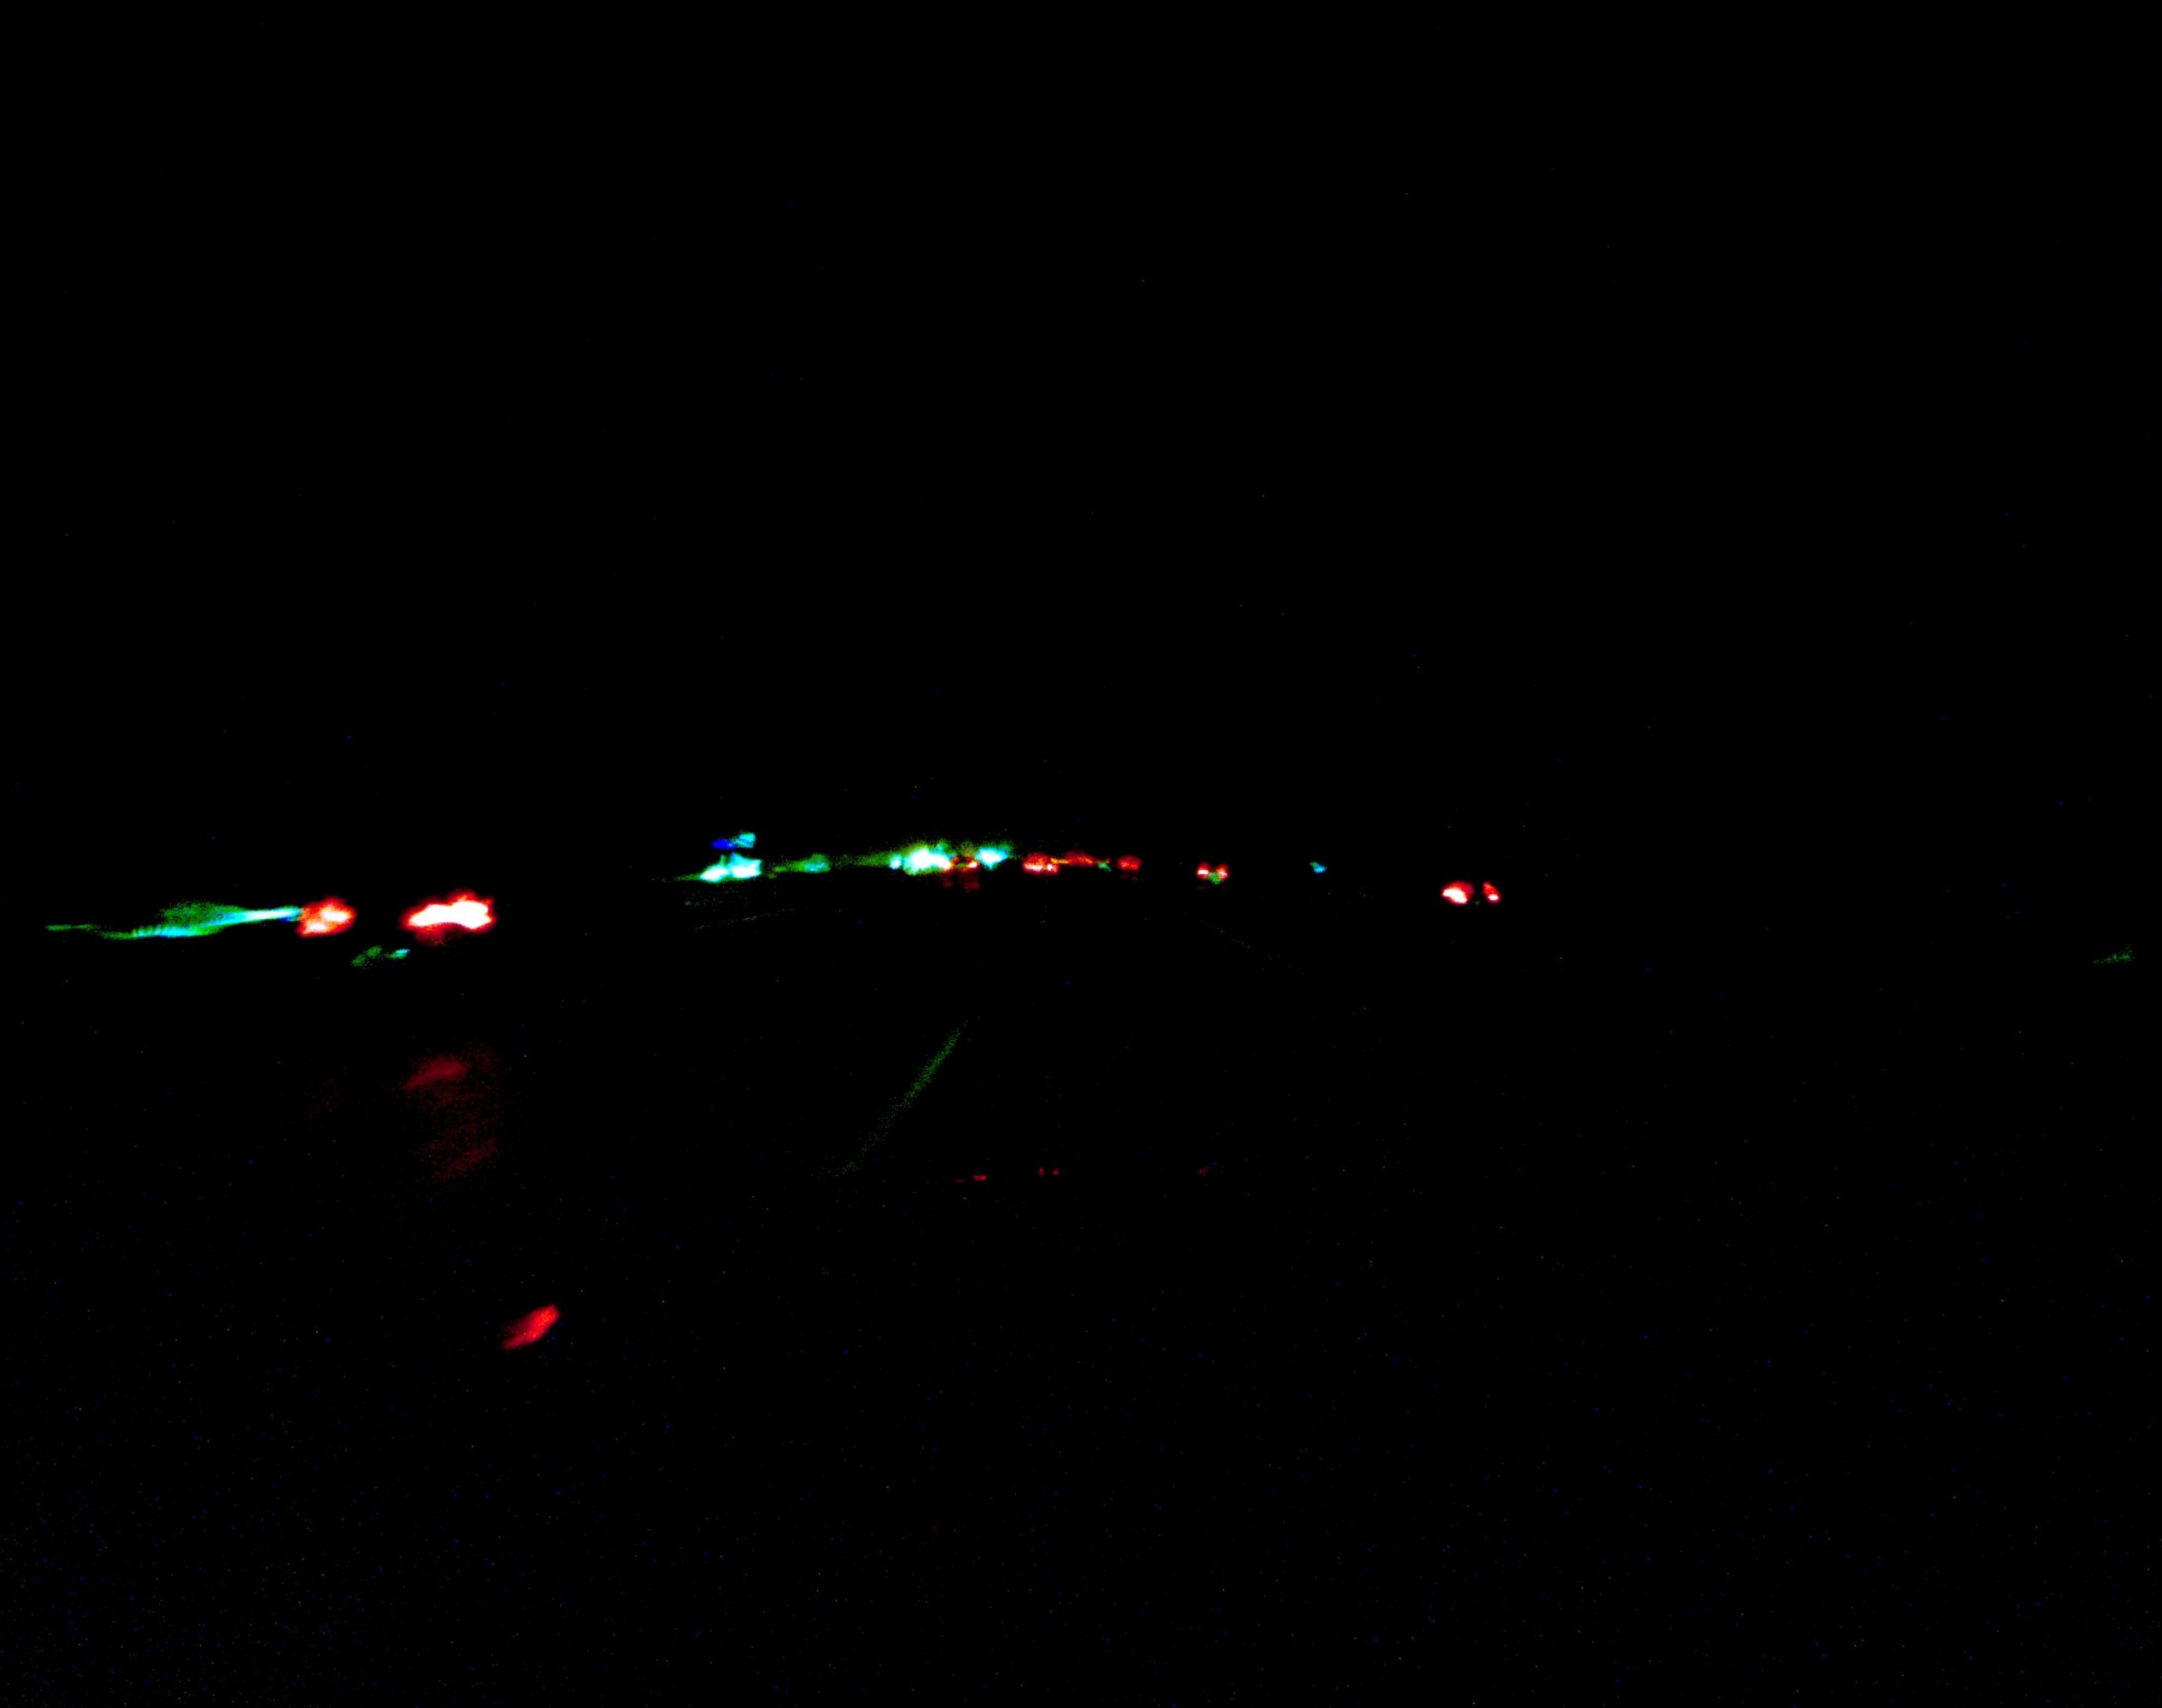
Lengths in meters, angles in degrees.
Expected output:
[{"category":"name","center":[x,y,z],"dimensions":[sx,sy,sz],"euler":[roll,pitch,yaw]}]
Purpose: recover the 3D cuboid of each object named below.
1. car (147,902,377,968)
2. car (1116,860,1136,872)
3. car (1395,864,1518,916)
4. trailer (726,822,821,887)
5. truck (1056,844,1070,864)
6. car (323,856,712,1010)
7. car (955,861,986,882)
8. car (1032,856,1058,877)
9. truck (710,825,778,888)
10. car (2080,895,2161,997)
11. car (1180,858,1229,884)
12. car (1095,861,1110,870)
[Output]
[{"category":"car","center":[-19.282,1.851,19.438],"dimensions":[1.657,1.236,3.760],"euler":[-2,-2,0]},{"category":"car","center":[4.817,1.246,87.292],"dimensions":[1.579,1.246,3.062],"euler":[1,0,-6]},{"category":"car","center":[11.973,1.087,26.317],"dimensions":[1.987,1.449,4.335],"euler":[1,0,0]},{"category":"trailer","center":[-24.093,0.248,64.815],"dimensions":[2.542,4.544,13.904],"euler":[-2,-2,-2]},{"category":"truck","center":[-2.912,0.052,131.448],"dimensions":[1.988,3.043,6.461],"euler":[-2,-2,-1]},{"category":"car","center":[-6.769,0.814,10.616],"dimensions":[1.853,1.541,4.746],"euler":[1,0,-2]},{"category":"car","center":[-7.143,1.136,52.885],"dimensions":[1.659,1.236,3.755],"euler":[-2,-2,-4]},{"category":"car","center":[-2.666,0.886,60.581],"dimensions":[1.797,1.487,3.996],"euler":[1,0,-2]},{"category":"truck","center":[-23.861,0.235,57.904],"dimensions":[2.531,4.156,5.637],"euler":[-2,-2,-2]},{"category":"car","center":[17.515,1.443,11.290],"dimensions":[1.789,1.486,4.312],"euler":[1,0,-11]},{"category":"car","center":[7.955,1.059,52.821],"dimensions":[2.054,1.519,5.007],"euler":[1,0,-4]},{"category":"car","center":[2.814,1.550,108.312],"dimensions":[1.579,1.246,3.062],"euler":[1,-1,-6]}]
